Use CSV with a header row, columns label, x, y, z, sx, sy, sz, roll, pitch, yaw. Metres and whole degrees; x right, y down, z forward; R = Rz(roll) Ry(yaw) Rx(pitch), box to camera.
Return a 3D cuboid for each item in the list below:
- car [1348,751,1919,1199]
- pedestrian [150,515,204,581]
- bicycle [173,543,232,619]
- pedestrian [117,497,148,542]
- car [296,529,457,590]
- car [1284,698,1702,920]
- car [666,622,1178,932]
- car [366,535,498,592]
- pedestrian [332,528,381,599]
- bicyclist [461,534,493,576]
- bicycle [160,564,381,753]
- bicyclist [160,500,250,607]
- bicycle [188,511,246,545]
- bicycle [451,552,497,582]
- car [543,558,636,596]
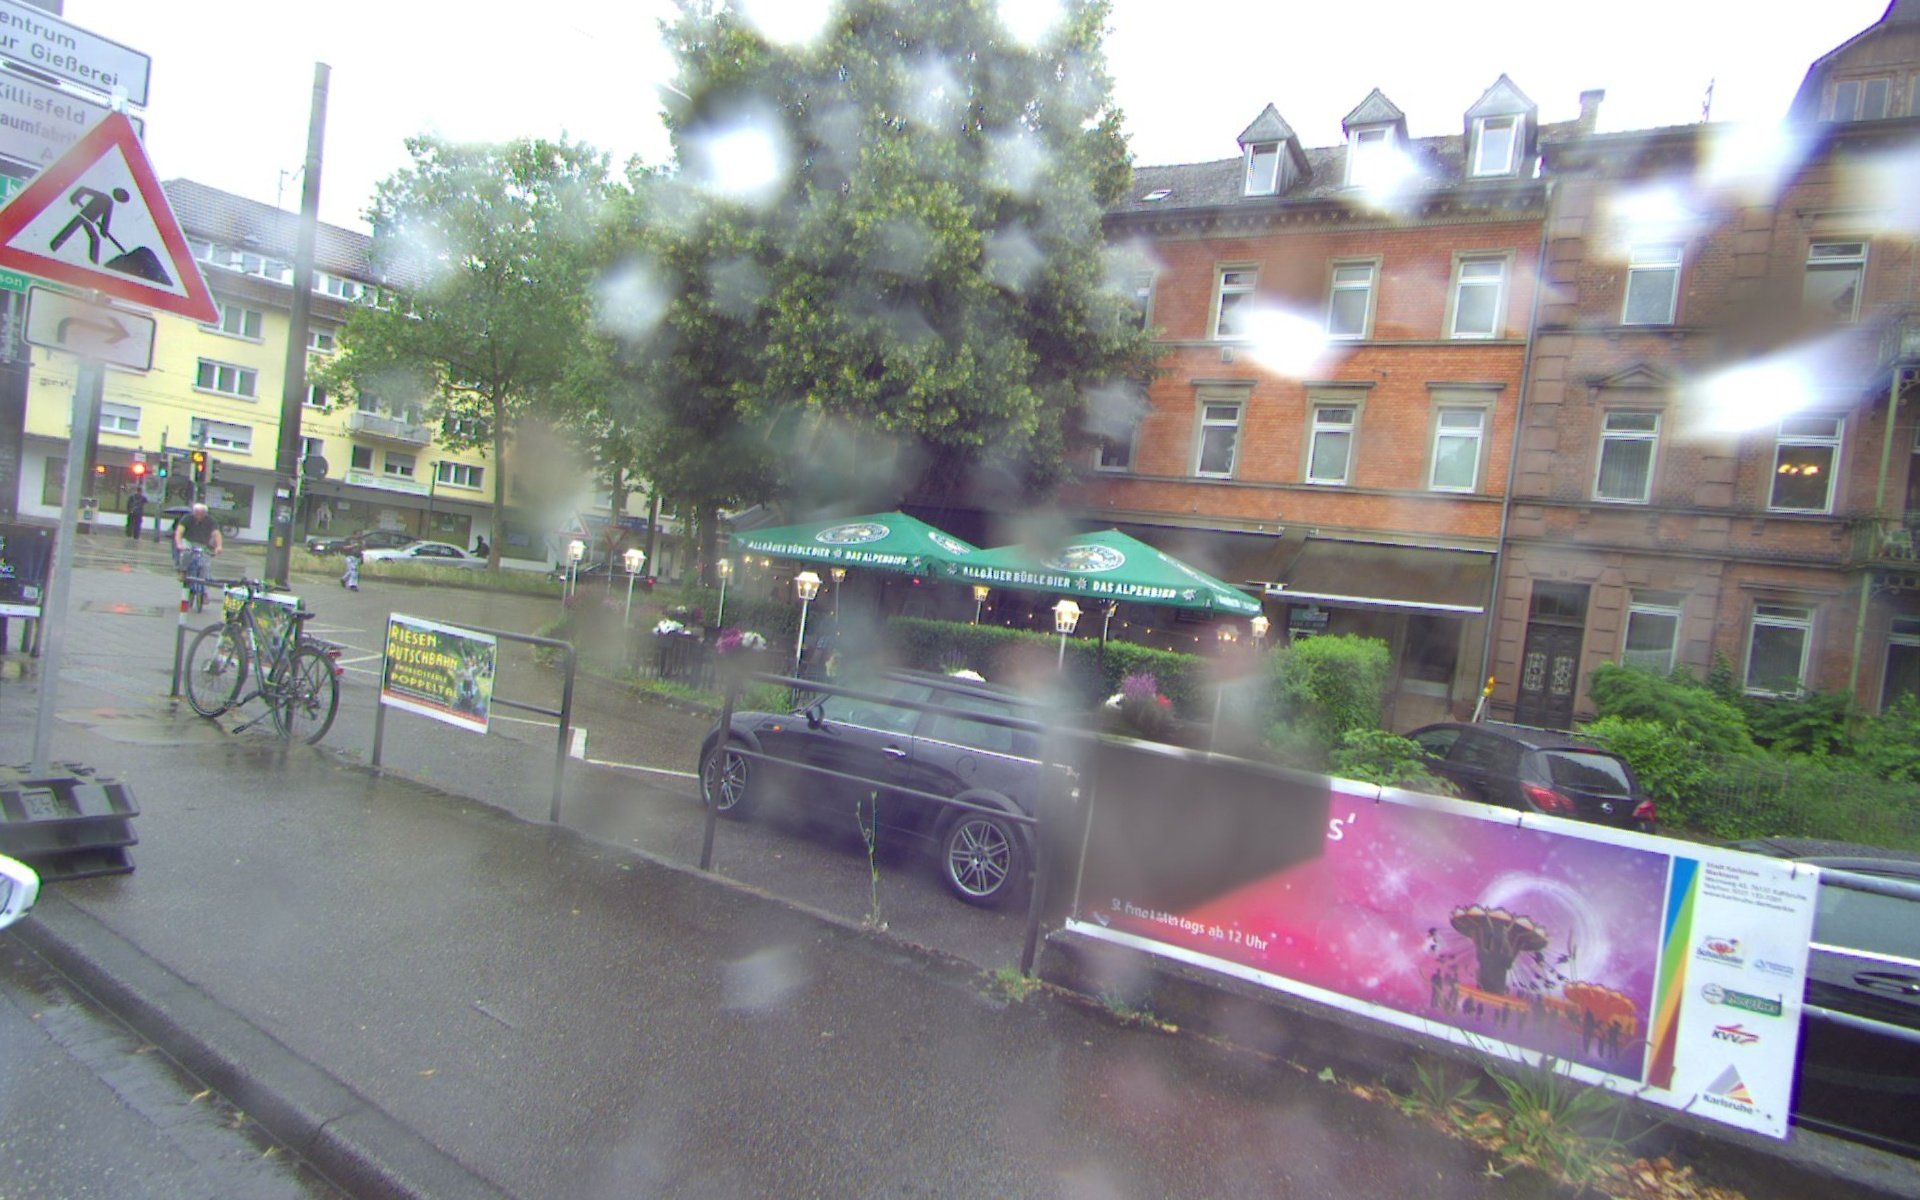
label,x,y,z,sx,sy,sz,roll,pitch,yaw
car,4.195,1.824,4.963,3.907,1.416,1.706,7,-1,32
pedestrian,-20.024,-1.313,25.735,0.612,1.552,0.816,7,0,-6
bicycle,-12.391,-0.327,16.434,0.457,1.040,1.877,7,1,-44
pedestrian,-29.561,-2.860,35.937,0.616,1.518,0.548,7,0,-29
car,-22.444,-1.522,38.828,1.975,1.661,4.928,3,-4,43
car,6.115,2.355,12.118,1.973,1.733,3.981,8,-1,-21
car,-0.353,1.215,7.805,3.468,1.457,1.710,8,-3,34
car,-19.603,-1.338,37.436,3.926,1.508,1.784,8,0,-43
pedestrian,-15.649,-0.945,26.067,0.898,1.689,1.011,7,-1,-33
bicyclist,-20.027,-1.863,41.727,0.699,1.634,0.815,7,0,33
bicycle,-5.178,0.404,7.502,1.984,1.119,0.515,7,-3,34
bicyclist,-12.312,-0.755,16.406,0.848,1.602,0.877,7,-1,42
bicycle,-35.600,-3.436,48.202,2.096,1.277,0.525,8,0,-44
bicycle,-20.120,-1.375,41.675,0.415,1.013,1.640,7,-1,32
car,-15.506,-0.936,42.279,1.227,1.095,3.531,7,-2,34
